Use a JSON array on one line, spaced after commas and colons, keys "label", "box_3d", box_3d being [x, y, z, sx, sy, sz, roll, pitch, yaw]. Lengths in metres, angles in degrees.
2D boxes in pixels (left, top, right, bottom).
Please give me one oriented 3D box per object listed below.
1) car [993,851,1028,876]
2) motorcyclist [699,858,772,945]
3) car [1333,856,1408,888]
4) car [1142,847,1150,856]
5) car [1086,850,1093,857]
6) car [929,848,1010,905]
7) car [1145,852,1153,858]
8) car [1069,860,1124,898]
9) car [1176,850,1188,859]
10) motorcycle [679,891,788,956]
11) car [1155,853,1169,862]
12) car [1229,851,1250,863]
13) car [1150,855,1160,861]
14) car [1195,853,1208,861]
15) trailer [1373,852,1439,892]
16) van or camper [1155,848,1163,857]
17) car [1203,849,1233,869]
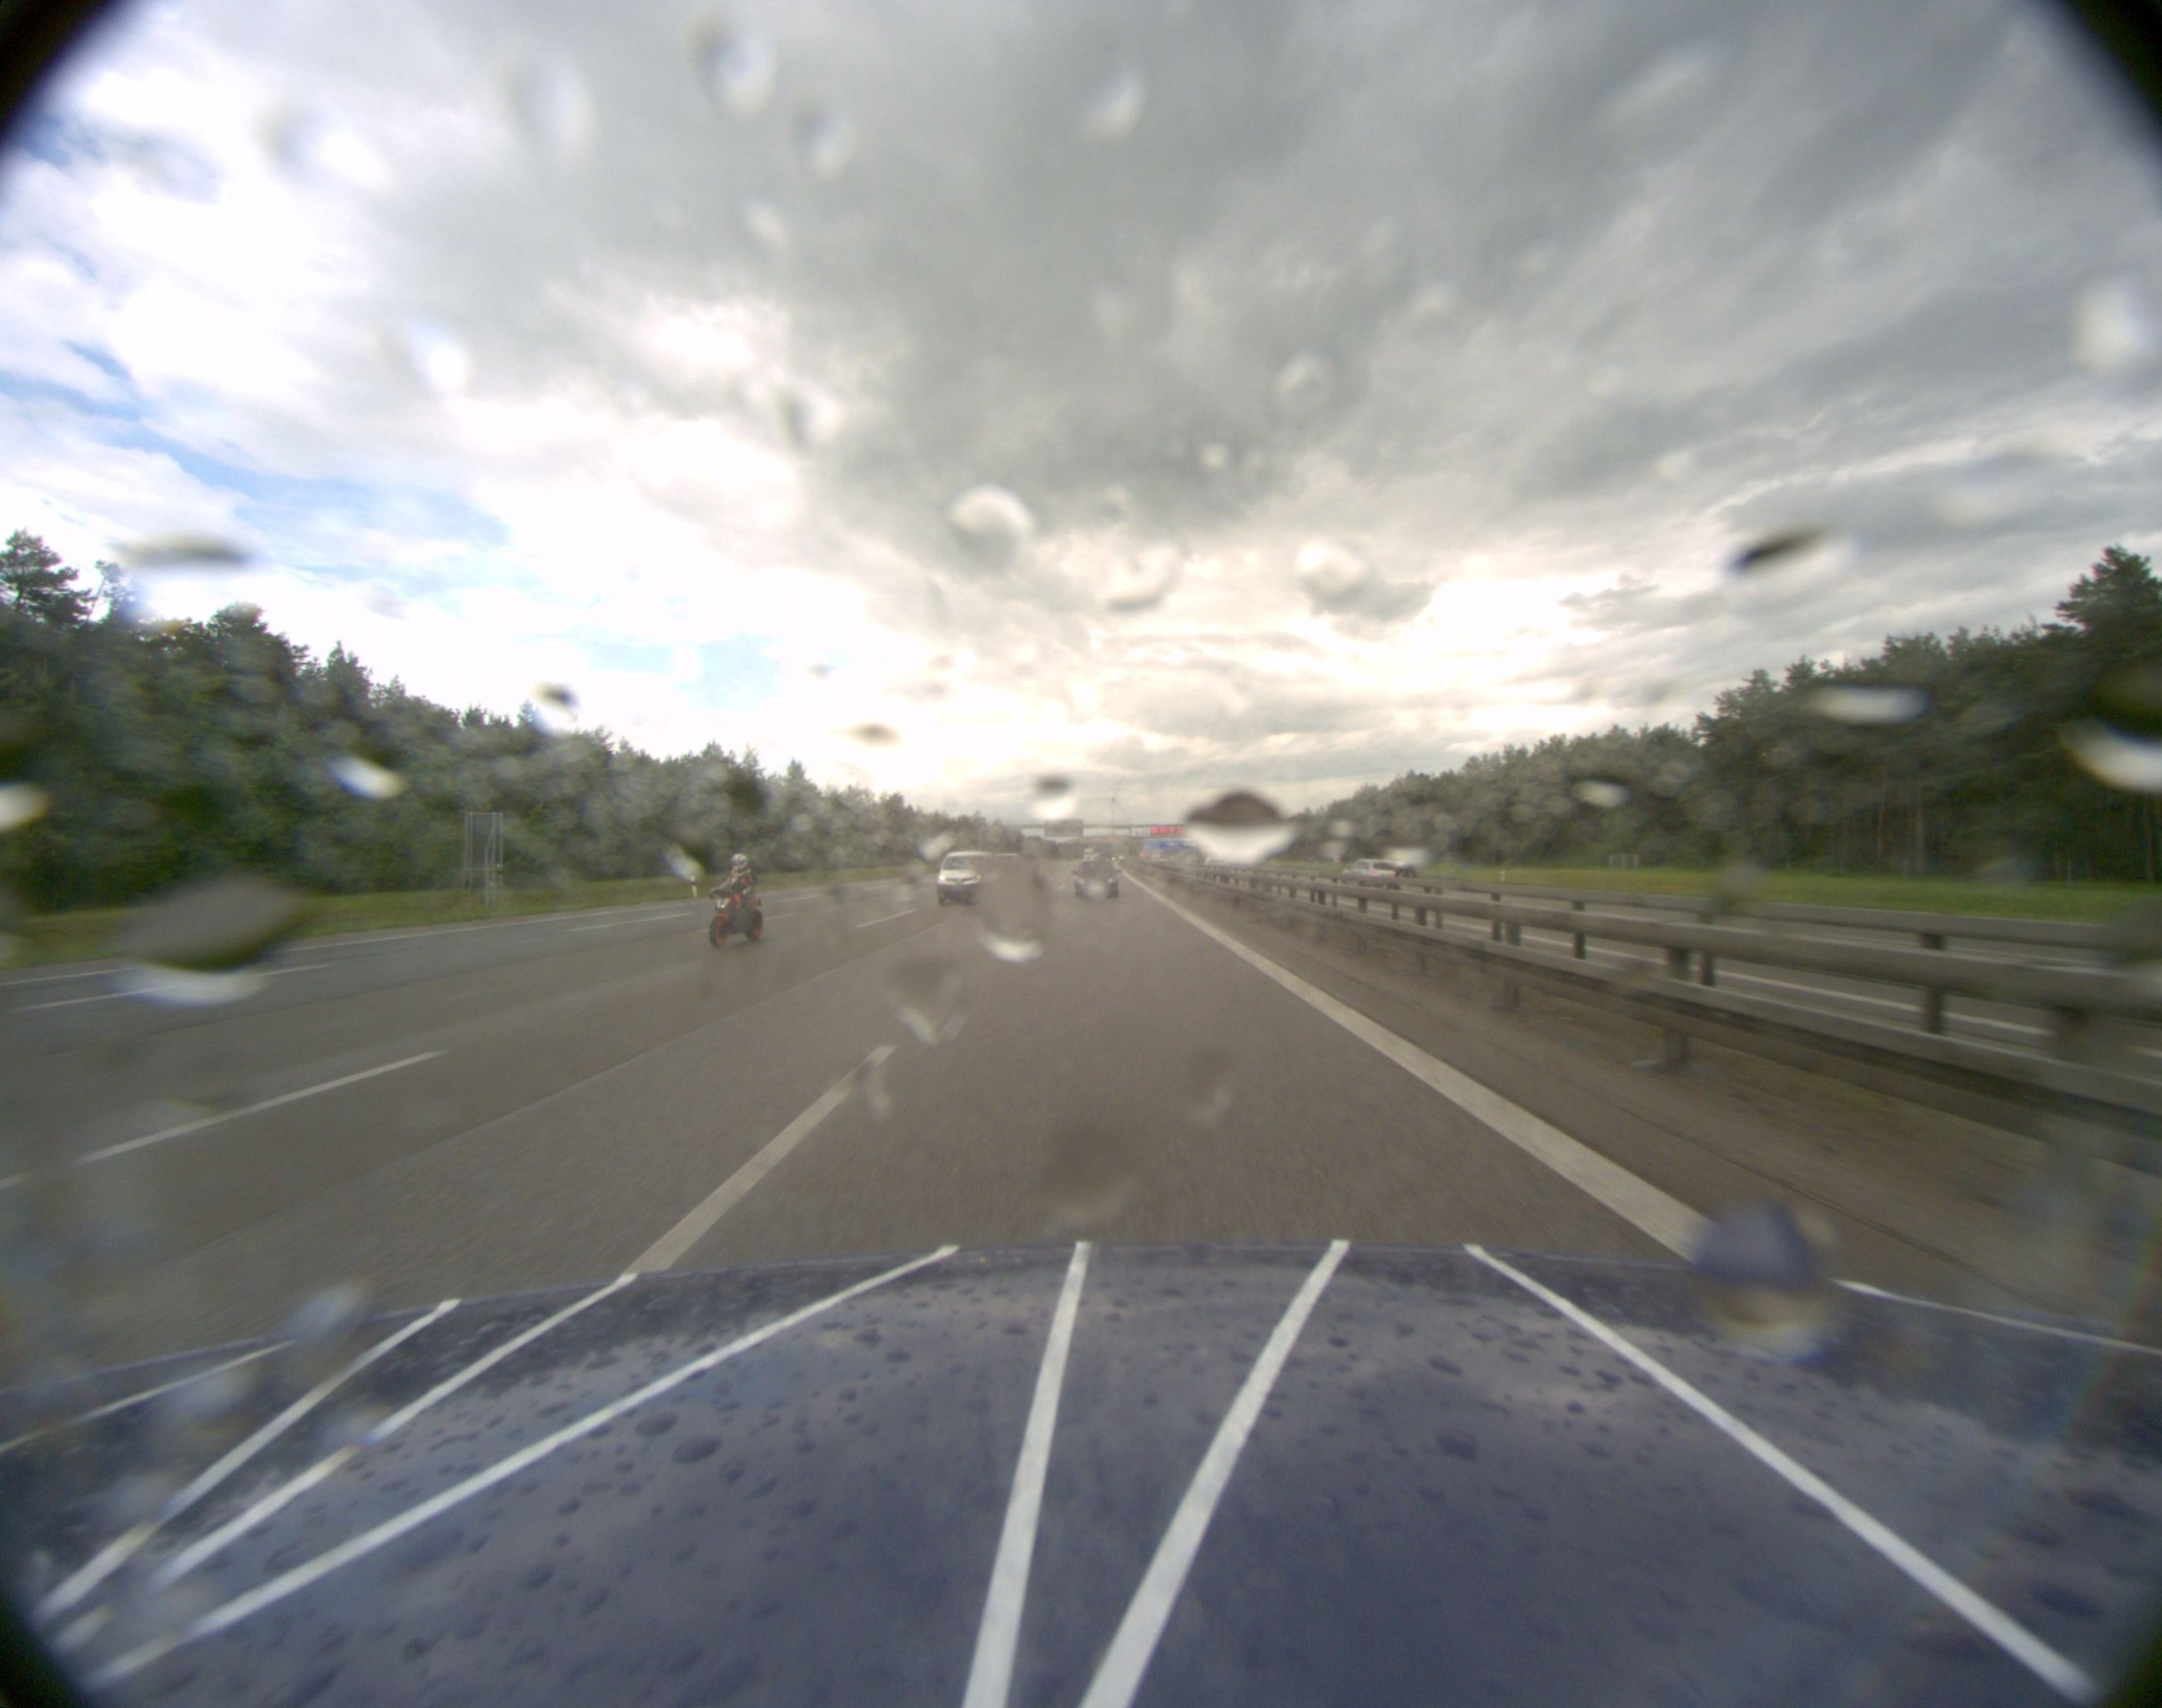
[{"label": "car", "box_3d": [-6.089, 0.773, 66.075, 1.998, 2.002, 5.485, -2, 0, 5]}, {"label": "motorcyclist", "box_3d": [-6.644, 0.889, 14.665, 0.893, 1.605, 0.959, -1, 1, 2]}, {"label": "car", "box_3d": [14.181, 0.862, 37.478, 1.833, 1.412, 4.572, 1, 0, -1]}, {"label": "car", "box_3d": [19.510, -0.643, 227.912, 2.138, 2.646, 6.674, 0, 0, 2]}, {"label": "car", "box_3d": [2.781, -0.132, 243.086, 1.998, 2.002, 4.000, 0, 0, 2]}, {"label": "car", "box_3d": [-4.000, 0.772, 28.112, 1.968, 1.890, 4.882, -1, 0, 3]}, {"label": "car", "box_3d": [16.808, 0.176, 187.945, 1.794, 1.533, 3.722, 0, 0, 3]}, {"label": "car", "box_3d": [0.700, 0.926, 29.595, 1.809, 1.321, 4.433, -1, 0, 5]}, {"label": "car", "box_3d": [18.263, 0.095, 137.217, 1.728, 1.674, 4.137, 2, 0, 1]}, {"label": "motorcycle", "box_3d": [-6.629, 1.294, 14.672, 1.002, 1.025, 2.174, -1, 0, 3]}, {"label": "car", "box_3d": [12.136, 0.485, 113.619, 1.697, 1.368, 4.000, -1, 0, 1]}, {"label": "car", "box_3d": [20.315, 0.375, 97.476, 1.904, 1.539, 4.513, 2, 0, 1]}, {"label": "car", "box_3d": [14.877, 0.813, 151.967, 1.698, 1.252, 4.063, 0, 0, 1]}, {"label": "car", "box_3d": [22.946, 0.534, 144.659, 1.728, 1.388, 4.184, 2, 0, 1]}, {"label": "trailer", "box_3d": [14.290, 0.753, 33.557, 1.484, 1.663, 3.208, 1, 0, -1]}, {"label": "van or camper", "box_3d": [27.151, -0.440, 265.075, 2.306, 3.094, 7.546, 1, 0, 5]}, {"label": "car", "box_3d": [11.460, 0.405, 63.834, 1.789, 1.538, 4.402, 1, 0, 1]}]
